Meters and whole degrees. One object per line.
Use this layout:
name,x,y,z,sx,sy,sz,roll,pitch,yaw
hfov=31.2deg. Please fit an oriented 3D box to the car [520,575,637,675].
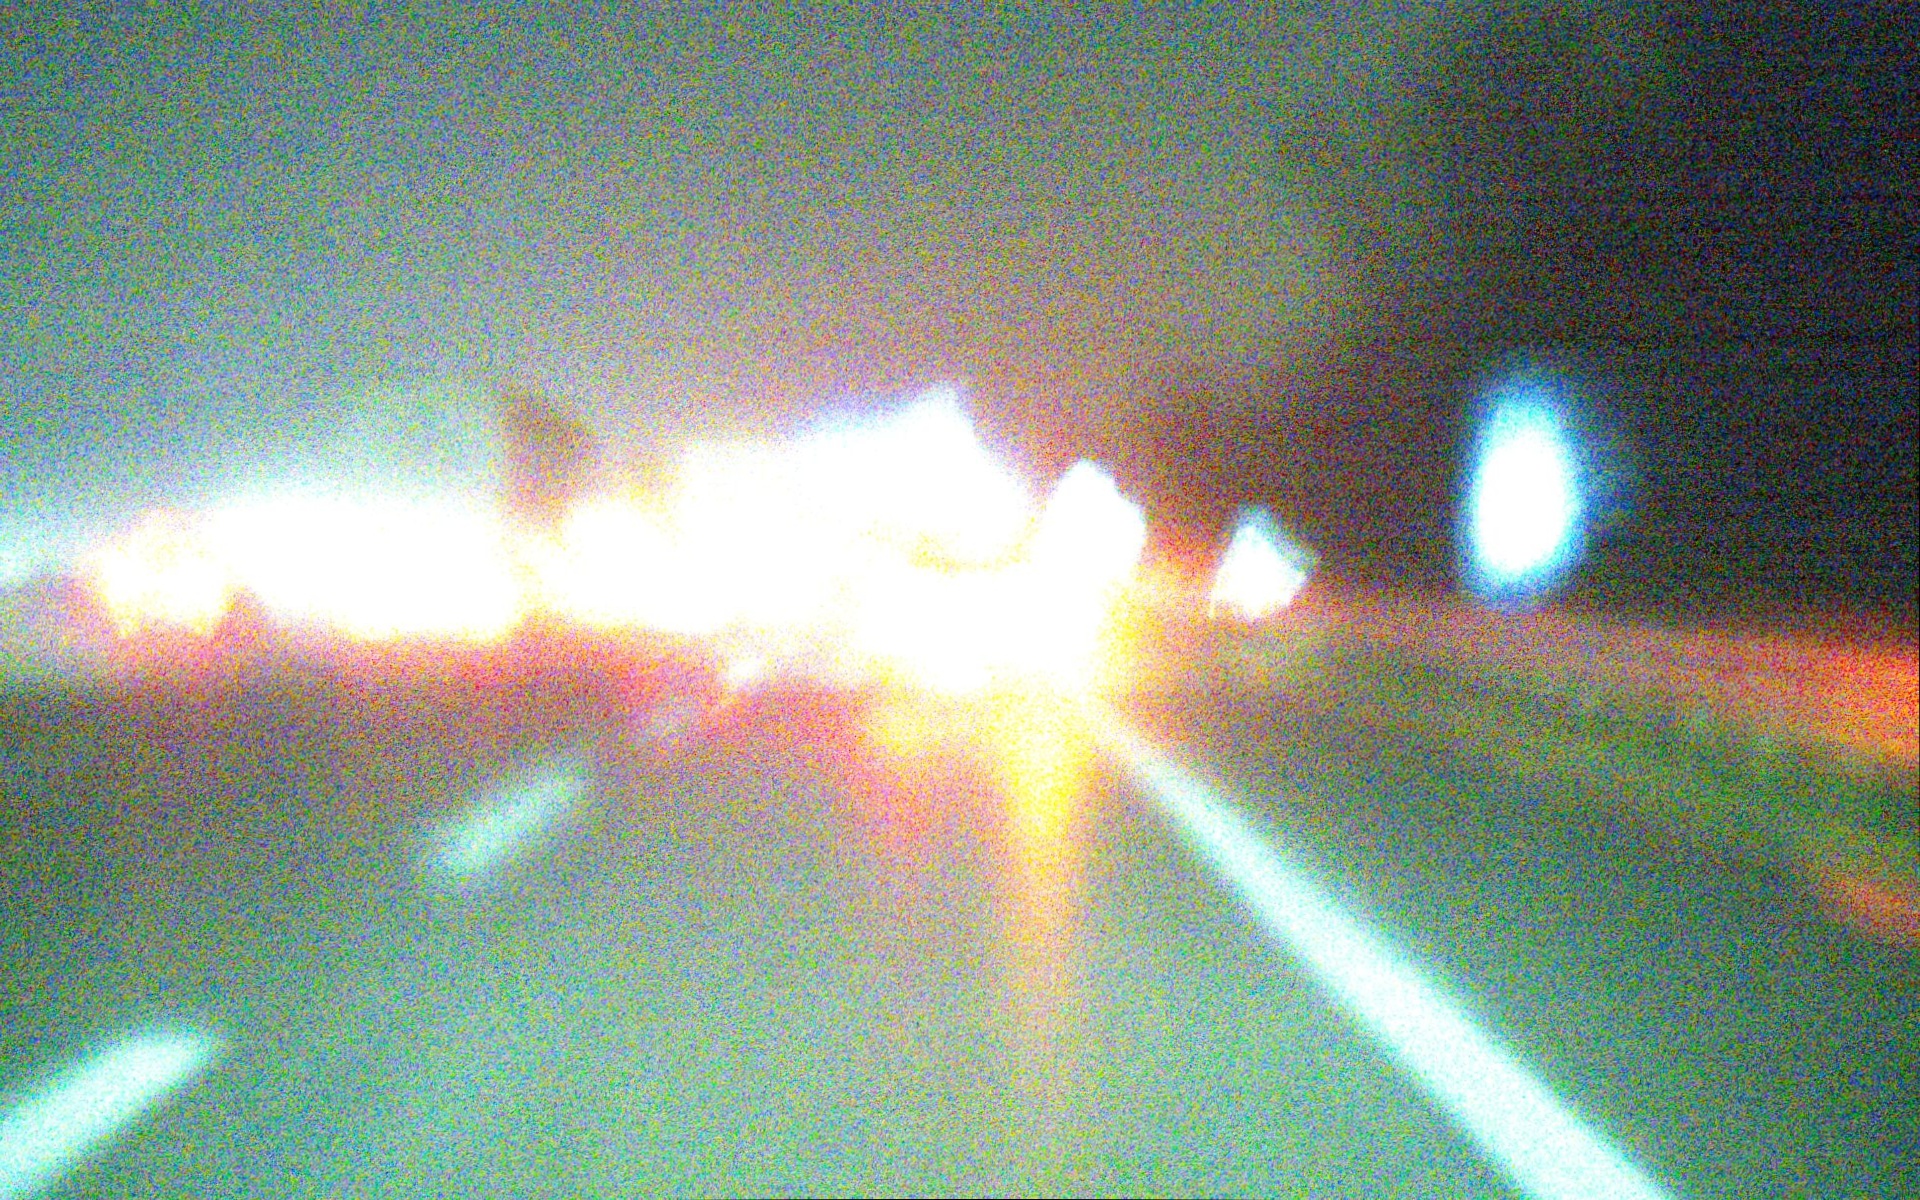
car,-7.161,0.448,64.833,1.993,1.801,4.001,1,0,-4

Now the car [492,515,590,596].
car,-9.653,-1.017,79.467,1.993,1.801,4.001,1,0,-4

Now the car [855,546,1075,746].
car,0.020,0.404,33.454,1.993,1.801,4.000,1,0,-1

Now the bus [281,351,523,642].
bus,-9.429,-1.664,59.246,3.096,4.492,10.915,1,0,-4

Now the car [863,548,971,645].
car,-0.966,-0.093,74.418,2.125,2.007,4.646,1,0,-3

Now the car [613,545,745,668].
car,-4.805,0.090,59.368,2.125,2.007,4.646,1,0,-3

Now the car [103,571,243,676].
car,-12.884,0.357,56.454,1.694,1.645,3.841,1,0,-5

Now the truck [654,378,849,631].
truck,-4.880,-2.187,83.070,4.210,5.629,11.468,1,0,-1

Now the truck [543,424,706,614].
truck,-10.442,-2.472,108.505,4.210,5.629,11.468,1,0,-1
